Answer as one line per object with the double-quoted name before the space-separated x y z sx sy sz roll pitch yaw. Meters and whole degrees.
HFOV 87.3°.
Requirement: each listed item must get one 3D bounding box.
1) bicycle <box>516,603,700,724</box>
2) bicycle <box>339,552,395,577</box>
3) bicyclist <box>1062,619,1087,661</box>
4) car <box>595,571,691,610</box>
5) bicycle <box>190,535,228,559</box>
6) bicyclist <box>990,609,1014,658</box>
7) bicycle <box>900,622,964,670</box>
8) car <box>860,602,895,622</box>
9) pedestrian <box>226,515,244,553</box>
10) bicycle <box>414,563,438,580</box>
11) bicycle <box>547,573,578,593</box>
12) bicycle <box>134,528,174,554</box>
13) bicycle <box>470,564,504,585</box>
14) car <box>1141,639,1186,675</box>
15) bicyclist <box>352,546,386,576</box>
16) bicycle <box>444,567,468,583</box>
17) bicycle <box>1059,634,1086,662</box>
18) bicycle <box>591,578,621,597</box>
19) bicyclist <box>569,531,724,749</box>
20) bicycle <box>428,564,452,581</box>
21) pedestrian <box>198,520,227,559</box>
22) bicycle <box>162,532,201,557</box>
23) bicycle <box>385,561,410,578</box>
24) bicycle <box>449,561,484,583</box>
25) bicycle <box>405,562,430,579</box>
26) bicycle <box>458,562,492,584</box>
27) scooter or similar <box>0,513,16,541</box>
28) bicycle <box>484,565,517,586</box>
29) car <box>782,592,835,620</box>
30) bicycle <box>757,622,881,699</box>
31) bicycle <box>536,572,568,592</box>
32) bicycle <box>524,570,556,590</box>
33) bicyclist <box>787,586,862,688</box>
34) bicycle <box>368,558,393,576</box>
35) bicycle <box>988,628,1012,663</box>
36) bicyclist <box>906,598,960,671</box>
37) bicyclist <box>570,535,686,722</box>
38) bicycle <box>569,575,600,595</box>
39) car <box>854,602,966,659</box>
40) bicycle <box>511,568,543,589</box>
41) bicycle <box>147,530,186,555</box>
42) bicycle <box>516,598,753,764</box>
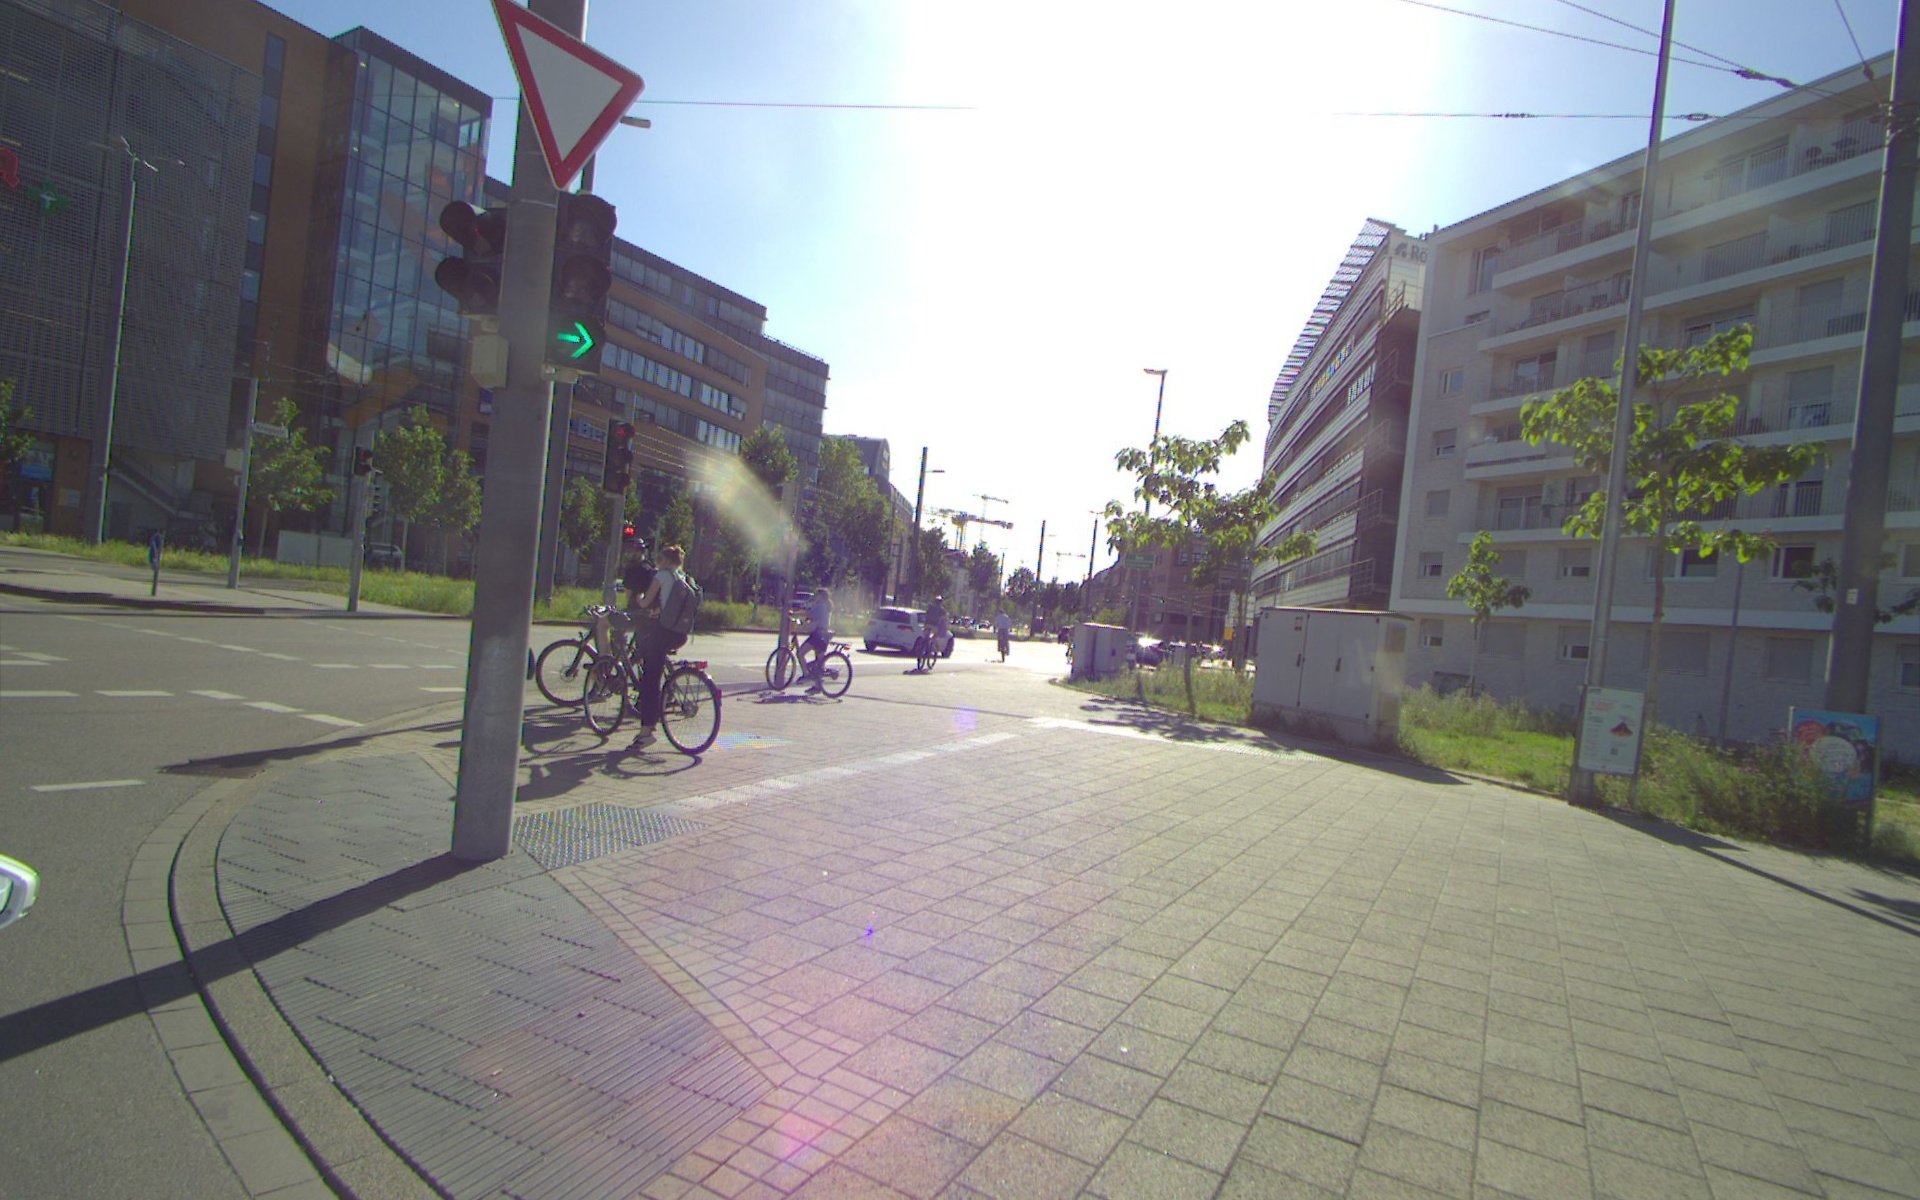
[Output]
"bicycle" -3.695 0.643 10.534 1.862 1.051 0.606 5 0 25
"bicycle" -31.808 -1.889 54.030 0.588 1.022 2.564 6 -1 31
"bicyclist" 5.103 1.796 44.846 0.639 1.774 1.044 6 1 23
"car" -17.982 -0.513 57.436 1.782 1.672 5.542 6 -1 26
"bicycle" -36.920 -2.613 49.443 2.141 0.966 0.492 7 0 25
"bicyclist" 1.528 1.201 36.329 0.608 1.690 1.020 8 0 4
"bicycle" -0.675 1.166 25.299 0.813 1.049 1.891 8 0 21
"car" -8.934 1.347 109.598 1.963 1.701 4.539 6 -1 21
"pedestrian" -38.843 -3.544 53.896 0.368 1.937 0.539 6 -1 38
"bicycle" -31.893 -1.715 60.109 1.425 0.829 0.445 7 0 25
"bicycle" -28.652 -1.243 72.533 2.141 1.137 0.753 7 0 25
"bicycle" -37.777 -2.753 47.160 2.141 0.966 0.492 7 0 25
"bicycle" -31.797 -1.730 67.604 2.141 1.137 0.753 7 0 25
"car" 10.164 2.821 50.050 1.694 1.542 4.401 7 -1 16
"bicyclist" -31.764 -2.080 54.068 0.584 1.425 1.310 6 0 31
"bicycle" -30.990 -1.544 61.841 1.425 0.829 0.445 7 0 25
"bicycle" 4.991 2.123 44.667 0.639 1.123 1.758 6 -2 22
"bicycle" -26.783 -0.958 76.089 2.141 1.137 0.753 7 0 25
"bicyclist" -2.632 0.315 8.449 0.986 1.675 0.594 6 1 30
"bicycle" -31.564 -1.651 61.037 1.425 0.829 0.445 7 0 25
"pedestrian" -35.776 -2.892 48.174 0.586 1.706 0.779 6 0 17
"bicycle" -37.376 -2.681 48.292 2.141 0.966 0.492 7 0 25
"bicycle" -32.791 -1.789 58.611 1.425 0.829 0.445 7 0 25
"bicycle" -32.306 -1.837 65.863 2.141 1.137 0.753 7 0 25
"bicycle" -32.146 -1.770 59.605 1.425 0.829 0.445 7 0 25
"bicycle" -32.168 -1.781 66.730 2.141 1.137 0.753 7 0 25
"scooter or similar" -41.288 -3.185 43.032 0.272 1.115 1.204 6 -2 32
"bicycle" -31.279 -1.654 68.446 2.141 1.137 0.753 7 0 25
"car" -13.452 0.550 89.626 2.187 2.038 5.256 6 -1 21
"bicycle" -2.101 0.884 14.924 1.679 0.966 0.695 5 0 30
"bicycle" -29.105 -1.305 71.731 2.141 1.137 0.753 7 0 25
"bicycle" -29.583 -1.405 70.812 2.141 1.137 0.753 7 0 25
"bicyclist" -2.011 0.541 14.926 0.813 1.421 0.588 5 0 30
"bicycle" -33.373 -1.893 57.927 1.425 0.829 0.445 7 0 25
"bicycle" 1.455 1.626 36.394 0.676 1.082 2.698 8 0 3
"bicyclist" -0.662 0.877 25.253 0.794 1.713 1.051 8 0 21
"bicyclist" -3.437 0.280 10.420 0.890 1.821 0.549 5 1 25
"bicycle" -27.652 -1.114 74.049 2.141 1.137 0.753 7 0 25
"car" -1.486 1.014 31.962 1.746 1.420 4.293 9 0 22
"bicycle" -30.096 -1.485 69.944 2.141 1.137 0.753 7 0 25
"bicycle" -37.611 -2.721 47.661 2.141 0.966 0.492 7 0 25
"bicycle" -2.775 0.641 8.498 1.978 1.119 0.695 5 0 30
